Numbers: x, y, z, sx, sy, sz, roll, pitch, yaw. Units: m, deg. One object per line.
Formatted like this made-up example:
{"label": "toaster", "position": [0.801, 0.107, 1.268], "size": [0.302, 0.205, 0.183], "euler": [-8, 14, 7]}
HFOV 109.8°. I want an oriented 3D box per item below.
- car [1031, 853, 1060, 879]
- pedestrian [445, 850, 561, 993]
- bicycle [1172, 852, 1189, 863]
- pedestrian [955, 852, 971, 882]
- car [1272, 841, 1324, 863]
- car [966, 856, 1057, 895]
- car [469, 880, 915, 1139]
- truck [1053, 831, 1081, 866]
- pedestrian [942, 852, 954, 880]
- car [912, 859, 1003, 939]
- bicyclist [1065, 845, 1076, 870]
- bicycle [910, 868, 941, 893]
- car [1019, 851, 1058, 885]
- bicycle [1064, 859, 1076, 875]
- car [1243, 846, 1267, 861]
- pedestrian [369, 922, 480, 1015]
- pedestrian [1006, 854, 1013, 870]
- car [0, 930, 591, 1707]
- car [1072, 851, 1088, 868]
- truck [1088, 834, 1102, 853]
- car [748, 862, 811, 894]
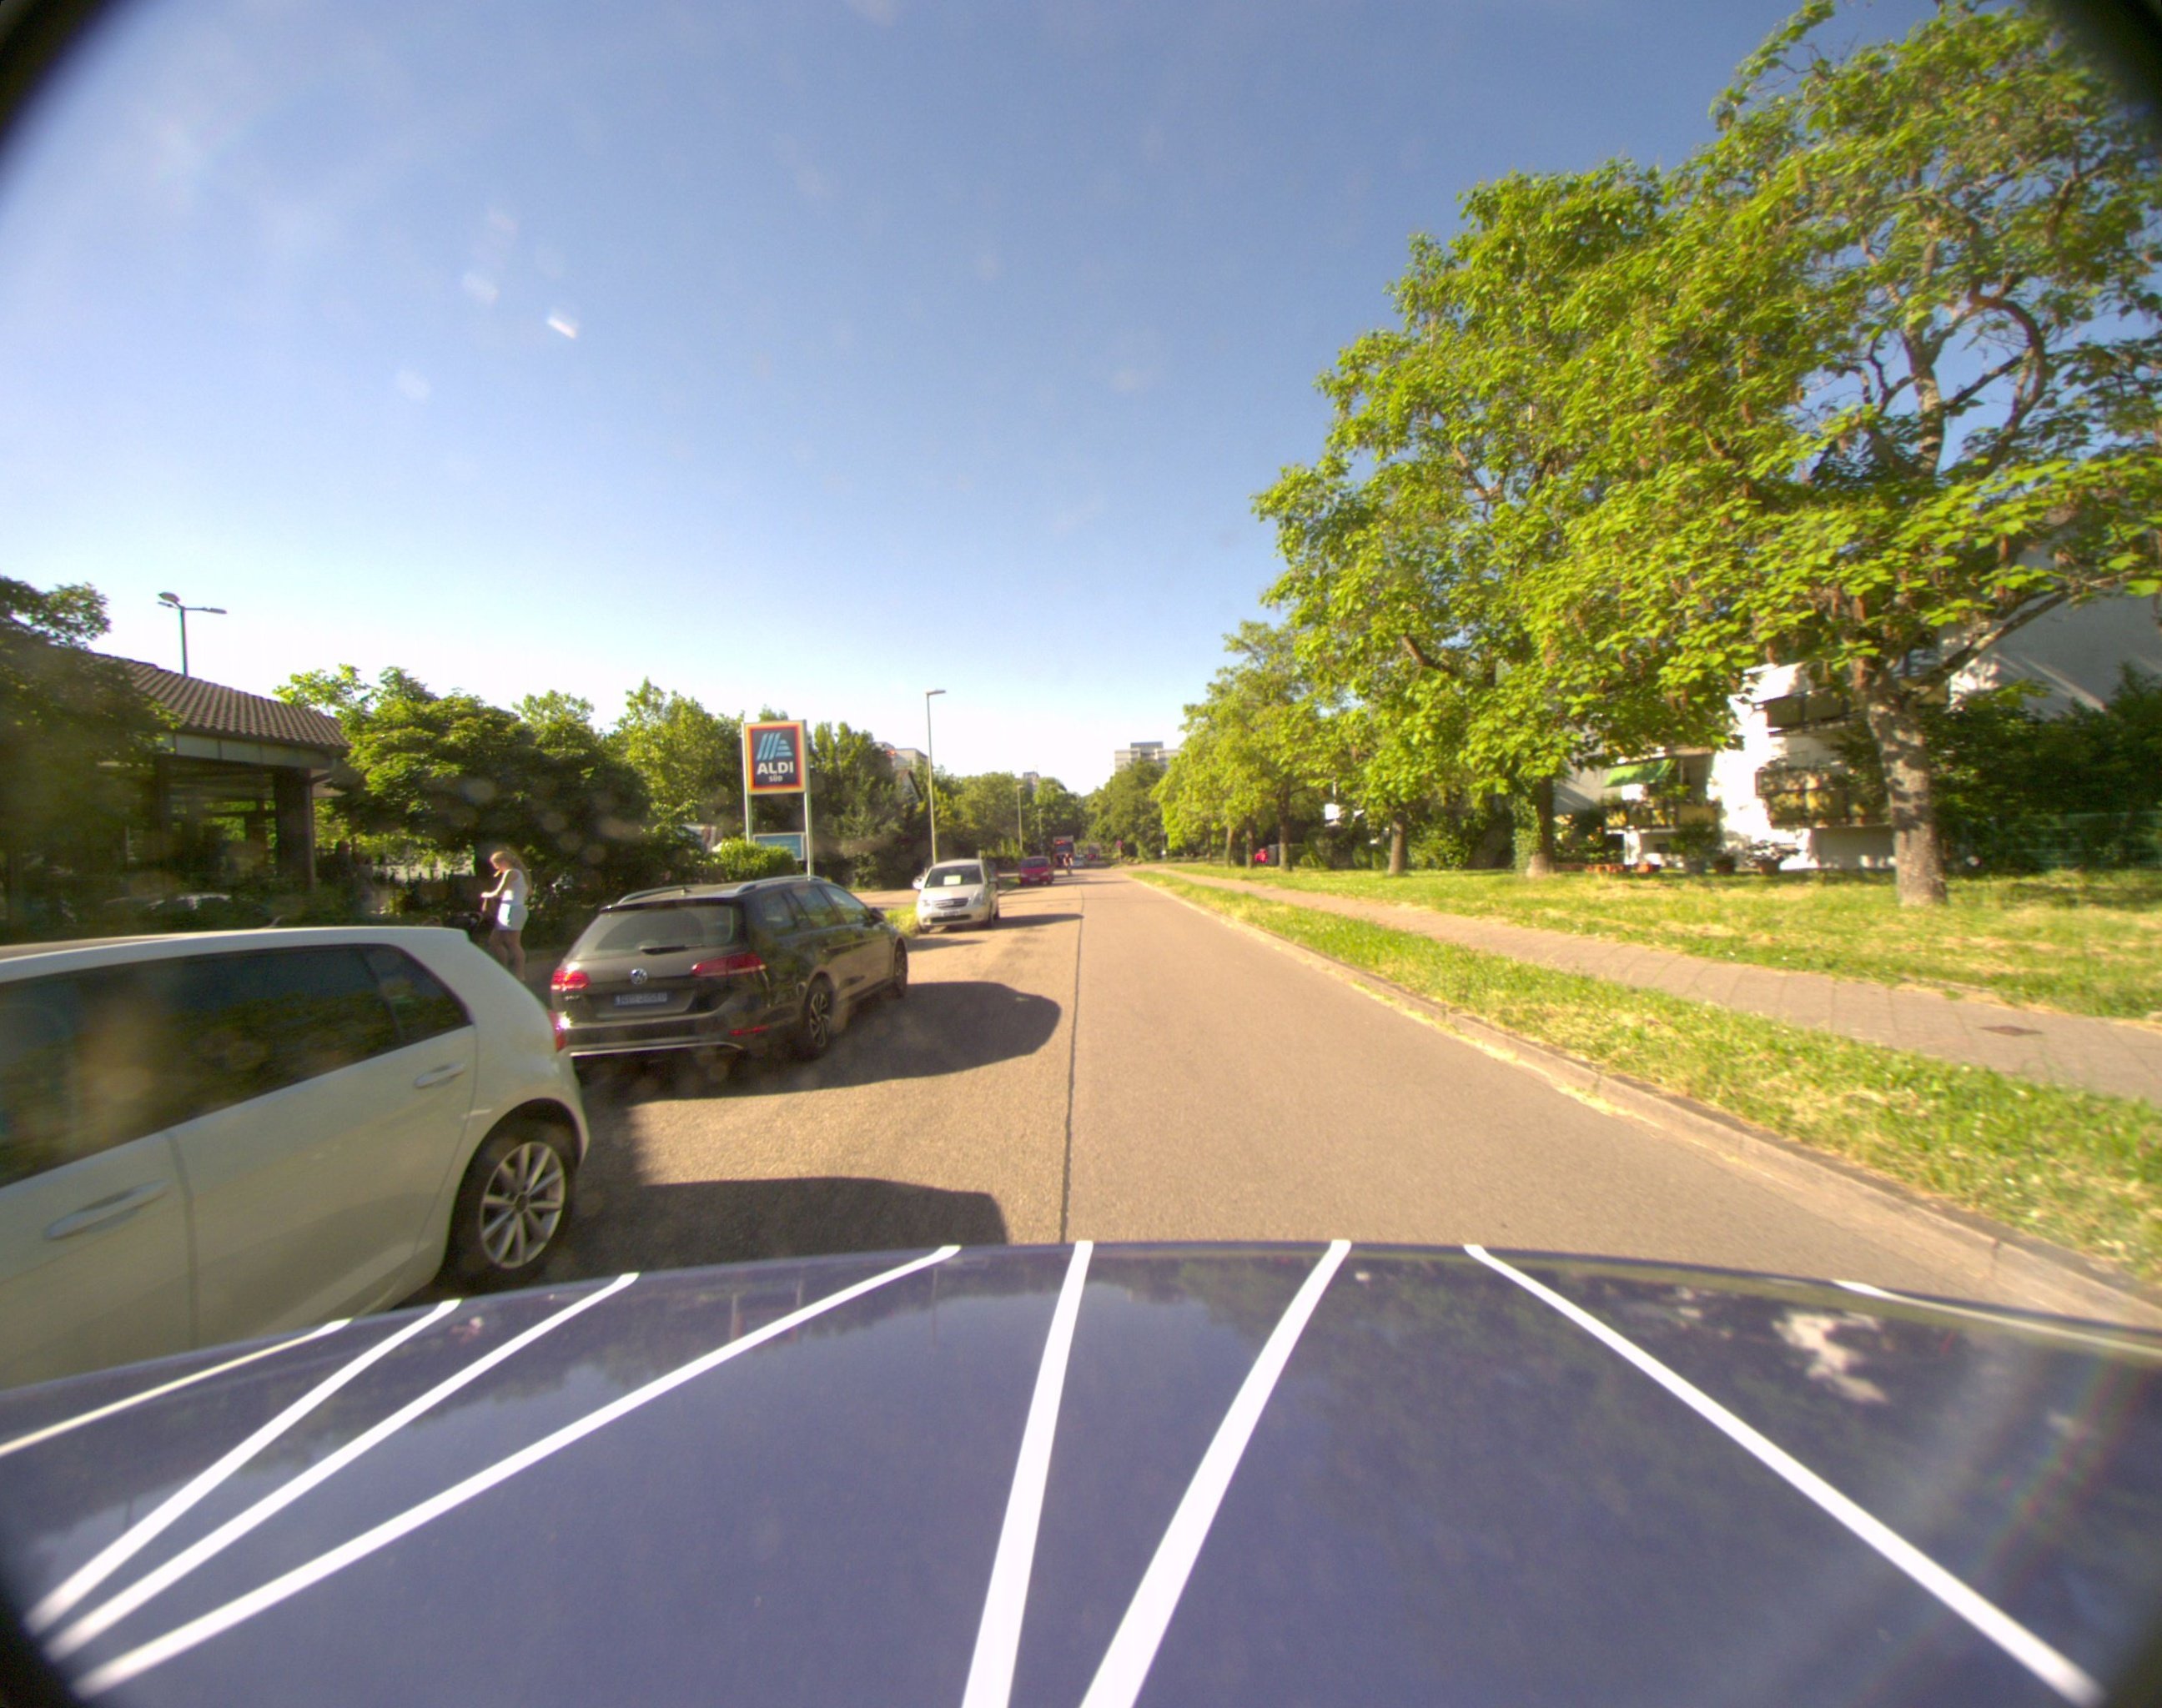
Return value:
{"label": "car", "position": [-2.382, 0.796, 51.763], "size": [1.729, 1.647, 4.352], "euler": [-2, 0, 0]}
{"label": "pedestrian", "position": [-7.500, 0.843, 9.891], "size": [0.800, 1.771, 0.809], "euler": [-2, 1, 8]}
{"label": "bicycle", "position": [11.378, 0.426, 86.812], "size": [1.902, 1.146, 0.760], "euler": [-2, 4, 10]}
{"label": "pedestrian", "position": [-6.901, 0.761, 44.327], "size": [0.806, 1.707, 0.983], "euler": [-1, 2, -3]}
{"label": "car", "position": [20.741, -0.167, 72.744], "size": [4.461, 1.957, 2.069], "euler": [-2, 0, 3]}
{"label": "car", "position": [-3.261, 0.987, 35.762], "size": [3.761, 1.635, 1.852], "euler": [-2, 0, -31]}
{"label": "car", "position": [-2.993, 1.086, 7.099], "size": [1.812, 1.435, 4.363], "euler": [-3, 0, 1]}
{"label": "truck", "position": [-1.705, -0.754, 100.411], "size": [3.166, 4.320, 10.582], "euler": [-2, 1, 1]}
{"label": "pedestrian", "position": [-7.729, 0.716, 44.294], "size": [0.574, 1.600, 0.792], "euler": [-1, 2, -3]}
{"label": "car", "position": [-2.881, 0.979, 18.482], "size": [1.684, 1.590, 4.026], "euler": [-3, 1, -3]}
{"label": "bicyclist", "position": [-0.833, 0.279, 60.479], "size": [0.753, 2.002, 0.711], "euler": [-3, 1, -1]}
{"label": "bicycle", "position": [-8.109, 1.368, 39.692], "size": [0.721, 1.214, 1.898], "euler": [0, 2, 17]}
{"label": "car", "position": [-2.467, 0.798, 45.282], "size": [1.844, 1.795, 4.653], "euler": [-3, 1, 1]}
{"label": "bicycle", "position": [-0.865, 1.002, 60.322], "size": [0.863, 1.164, 3.030], "euler": [-3, 1, -2]}
{"label": "car", "position": [18.716, -0.064, 81.720], "size": [1.674, 1.479, 3.884], "euler": [-2, 2, 0]}
{"label": "pedestrian", "position": [-7.843, 1.347, 9.110], "size": [0.533, 0.975, 0.811], "euler": [-2, 1, 8]}
{"label": "pedestrian", "position": [-7.779, 0.855, 82.735], "size": [0.641, 1.629, 0.641], "euler": [-2, 1, 3]}
{"label": "car", "position": [-3.033, 1.109, 1.250], "size": [1.831, 1.443, 3.999], "euler": [-3, 1, -1]}
{"label": "car", "position": [-0.118, 0.584, 88.479], "size": [1.845, 1.795, 4.028], "euler": [-3, 1, 0]}
{"label": "truck", "position": [3.006, -2.371, 164.991], "size": [2.803, 3.996, 9.623], "euler": [-1, 2, 1]}
{"label": "car", "position": [-16.114, 1.250, 40.854], "size": [1.777, 1.494, 3.802], "euler": [-2, 0, 1]}
